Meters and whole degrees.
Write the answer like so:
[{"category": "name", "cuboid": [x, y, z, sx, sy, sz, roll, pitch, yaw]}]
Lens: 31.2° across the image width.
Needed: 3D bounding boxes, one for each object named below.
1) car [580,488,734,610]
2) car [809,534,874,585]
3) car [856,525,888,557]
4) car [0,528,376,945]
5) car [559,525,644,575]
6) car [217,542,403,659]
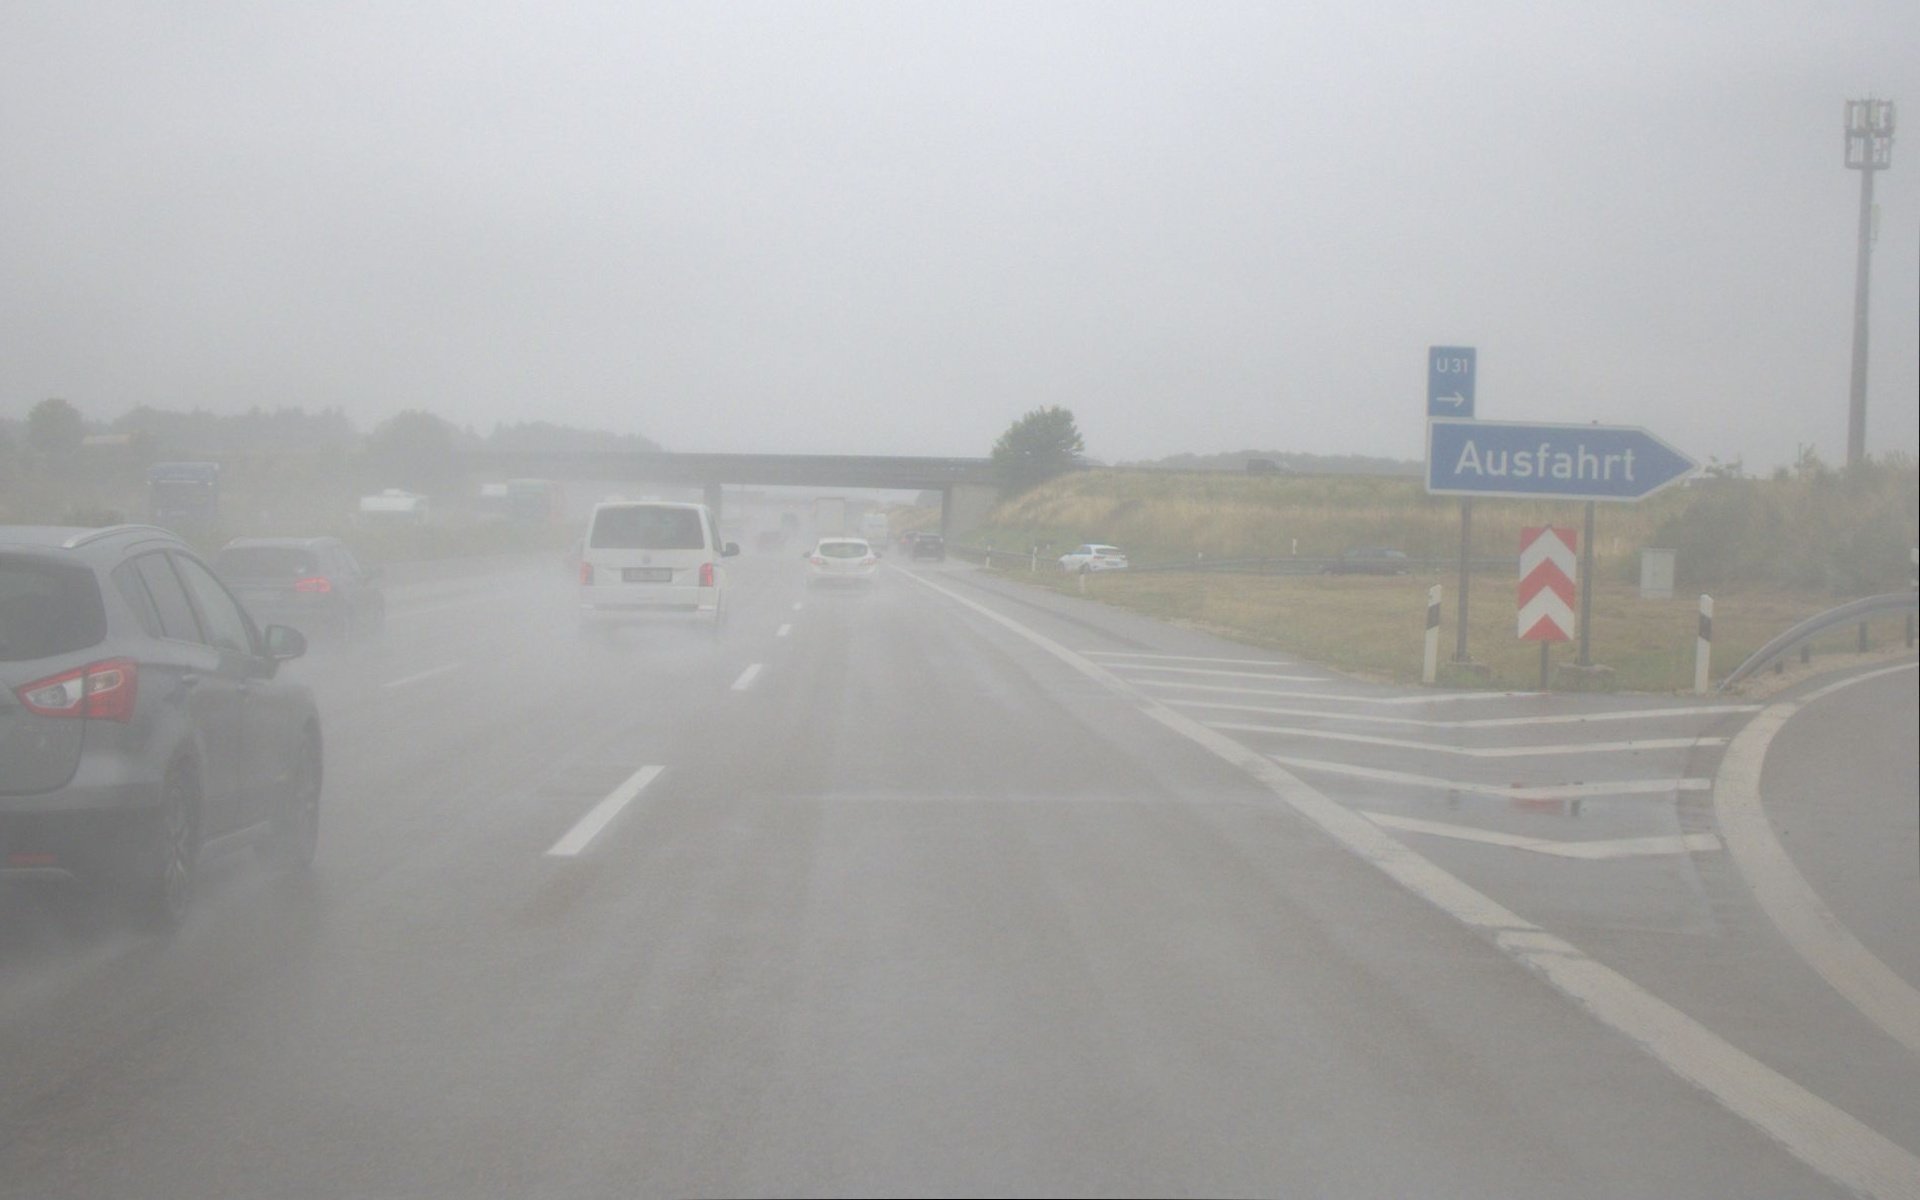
[{"category": "car", "cuboid": [-4.142, -0.705, 47.507, 1.897, 1.580, 4.000, 1, 1, -2]}, {"category": "car", "cuboid": [-2.901, -1.014, 84.860, 1.468, 1.204, 2.991, 1, 1, 0]}, {"category": "car", "cuboid": [-6.248, -4.192, 243.899, 1.993, 2.094, 4.001, 2, 2, -5]}, {"category": "car", "cuboid": [-3.857, 0.447, 14.877, 1.846, 1.508, 4.757, 1, 1, 0]}, {"category": "car", "cuboid": [-9.240, -1.281, 88.760, 1.468, 1.253, 3.339, 1, 1, 7]}, {"category": "car", "cuboid": [-7.946, -0.023, 42.299, 1.612, 1.349, 4.000, 1, 1, -1]}]
